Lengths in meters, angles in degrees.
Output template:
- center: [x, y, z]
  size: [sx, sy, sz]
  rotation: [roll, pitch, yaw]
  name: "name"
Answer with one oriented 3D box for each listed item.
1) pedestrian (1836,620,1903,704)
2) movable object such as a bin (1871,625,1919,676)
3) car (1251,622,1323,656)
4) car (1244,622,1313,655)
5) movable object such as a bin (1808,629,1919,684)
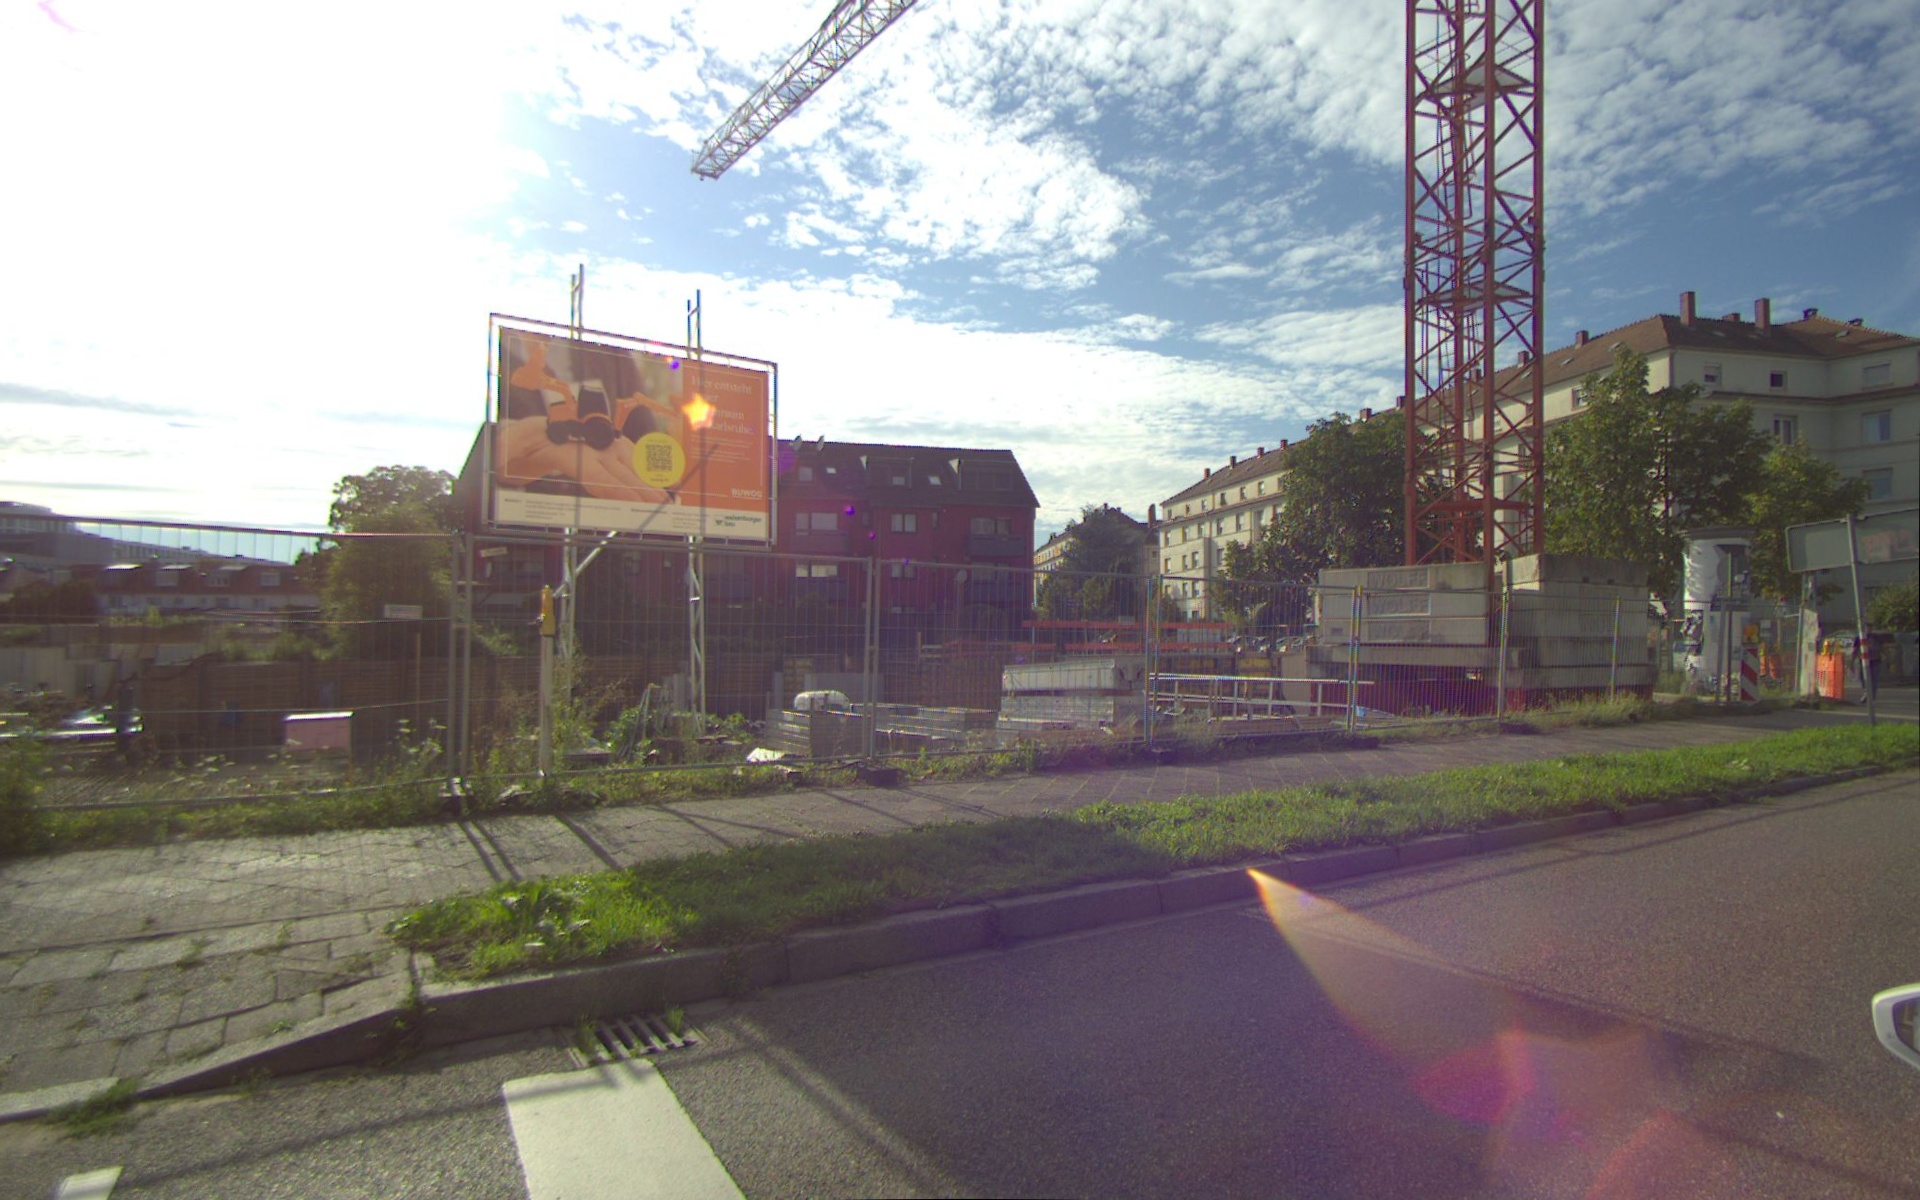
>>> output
- center: [19.789, 1.332, 21.853]
  size: [1.170, 1.750, 0.997]
  rotation: [3, -3, -43]
  name: "pedestrian"
- center: [33.361, 1.751, 34.267]
  size: [1.388, 1.730, 3.102]
  rotation: [1, -1, -17]
  name: "movable object such as a bin"
- center: [20.726, 2.458, 63.630]
  size: [3.938, 2.040, 1.992]
  rotation: [2, -1, -19]
  name: "car"
- center: [20.994, 2.529, 66.268]
  size: [3.938, 2.040, 1.992]
  rotation: [2, -1, -19]
  name: "car"
- center: [30.586, 1.850, 33.571]
  size: [1.522, 1.730, 3.103]
  rotation: [1, -1, -16]
  name: "movable object such as a bin"
